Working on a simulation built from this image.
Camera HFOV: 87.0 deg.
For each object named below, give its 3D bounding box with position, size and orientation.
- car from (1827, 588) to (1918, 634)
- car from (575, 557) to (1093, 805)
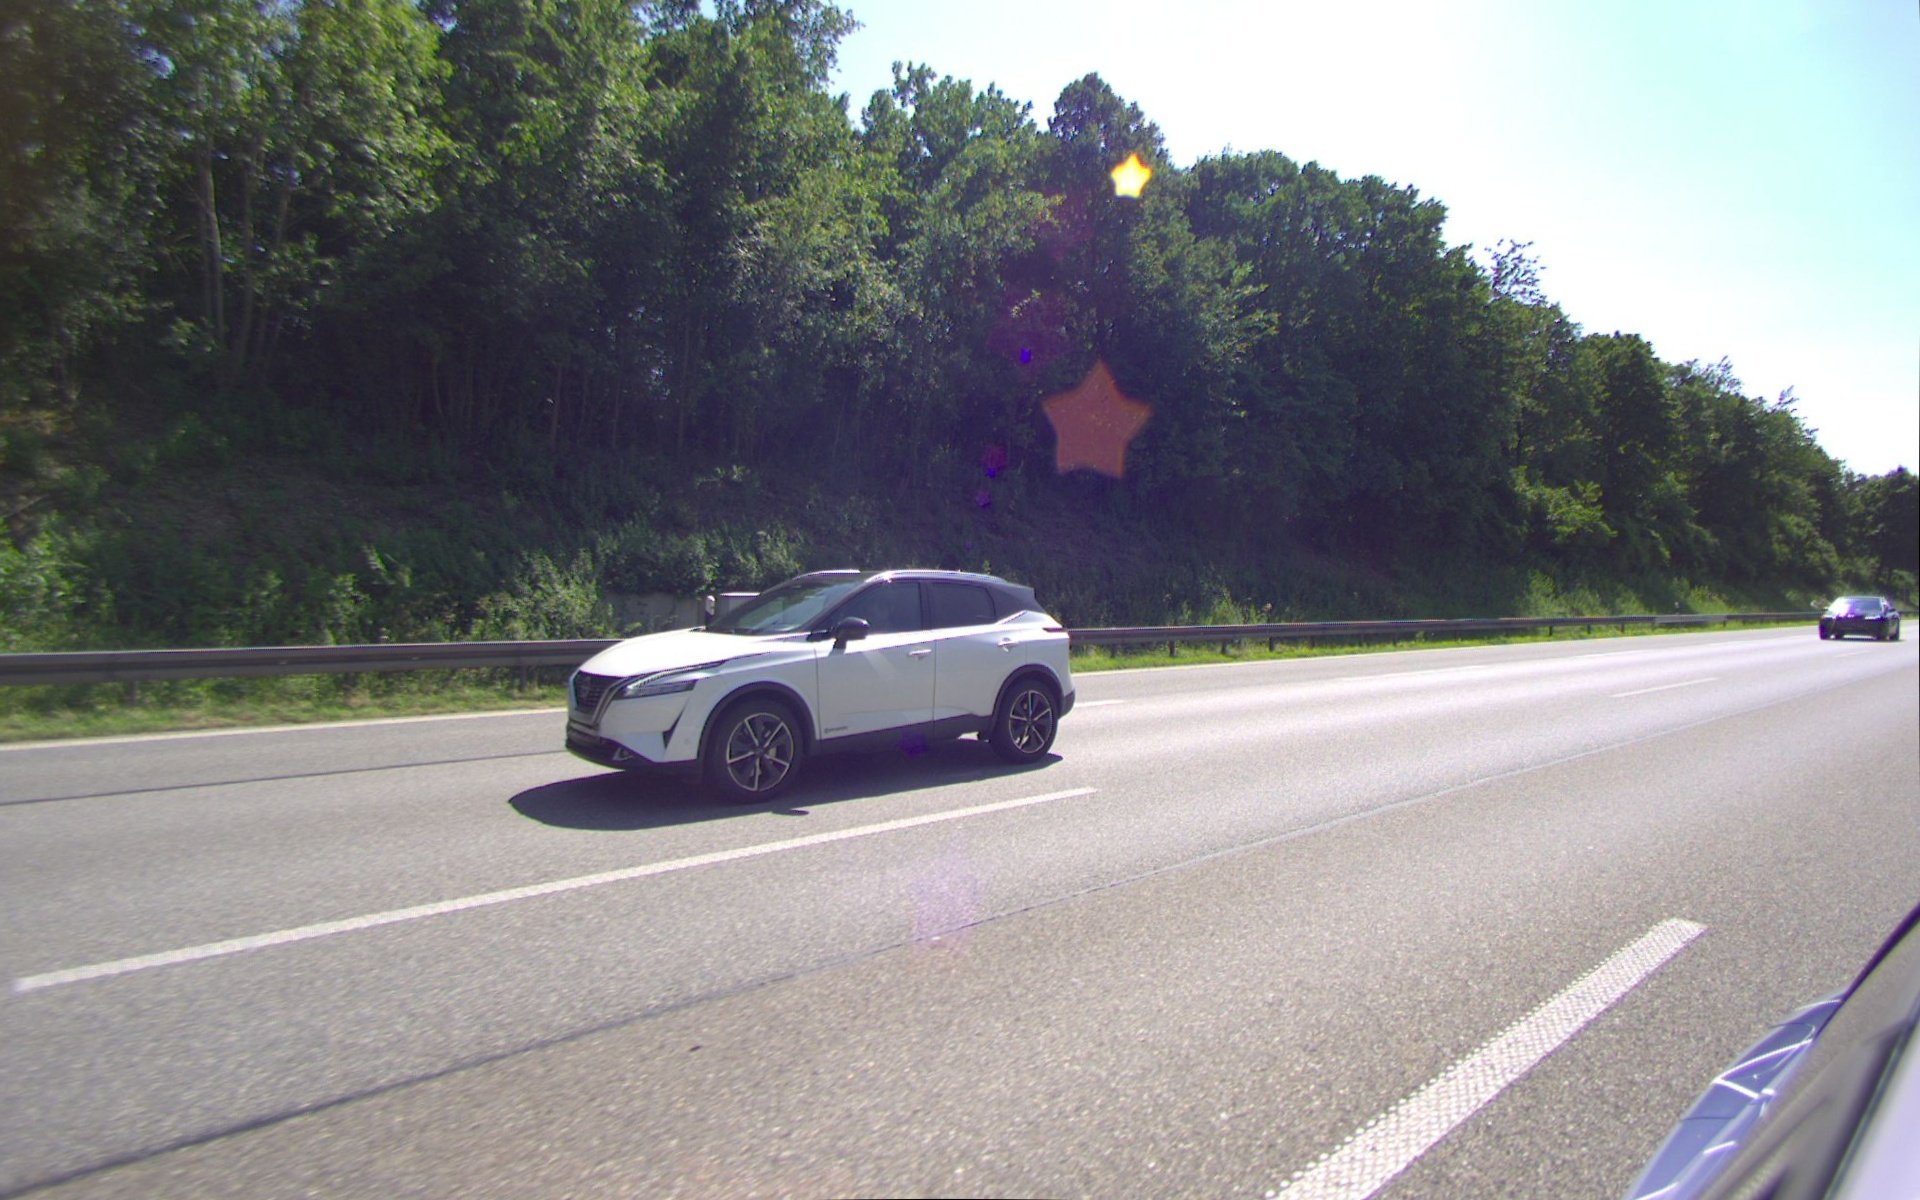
[{"bbox_3d":[35.252,0.383,39.067,4.602,1.690,1.924,0,0,-39],"label":"car"},{"bbox_3d":[-0.905,0.512,8.473,3.964,1.588,1.847,0,0,-40],"label":"car"}]
